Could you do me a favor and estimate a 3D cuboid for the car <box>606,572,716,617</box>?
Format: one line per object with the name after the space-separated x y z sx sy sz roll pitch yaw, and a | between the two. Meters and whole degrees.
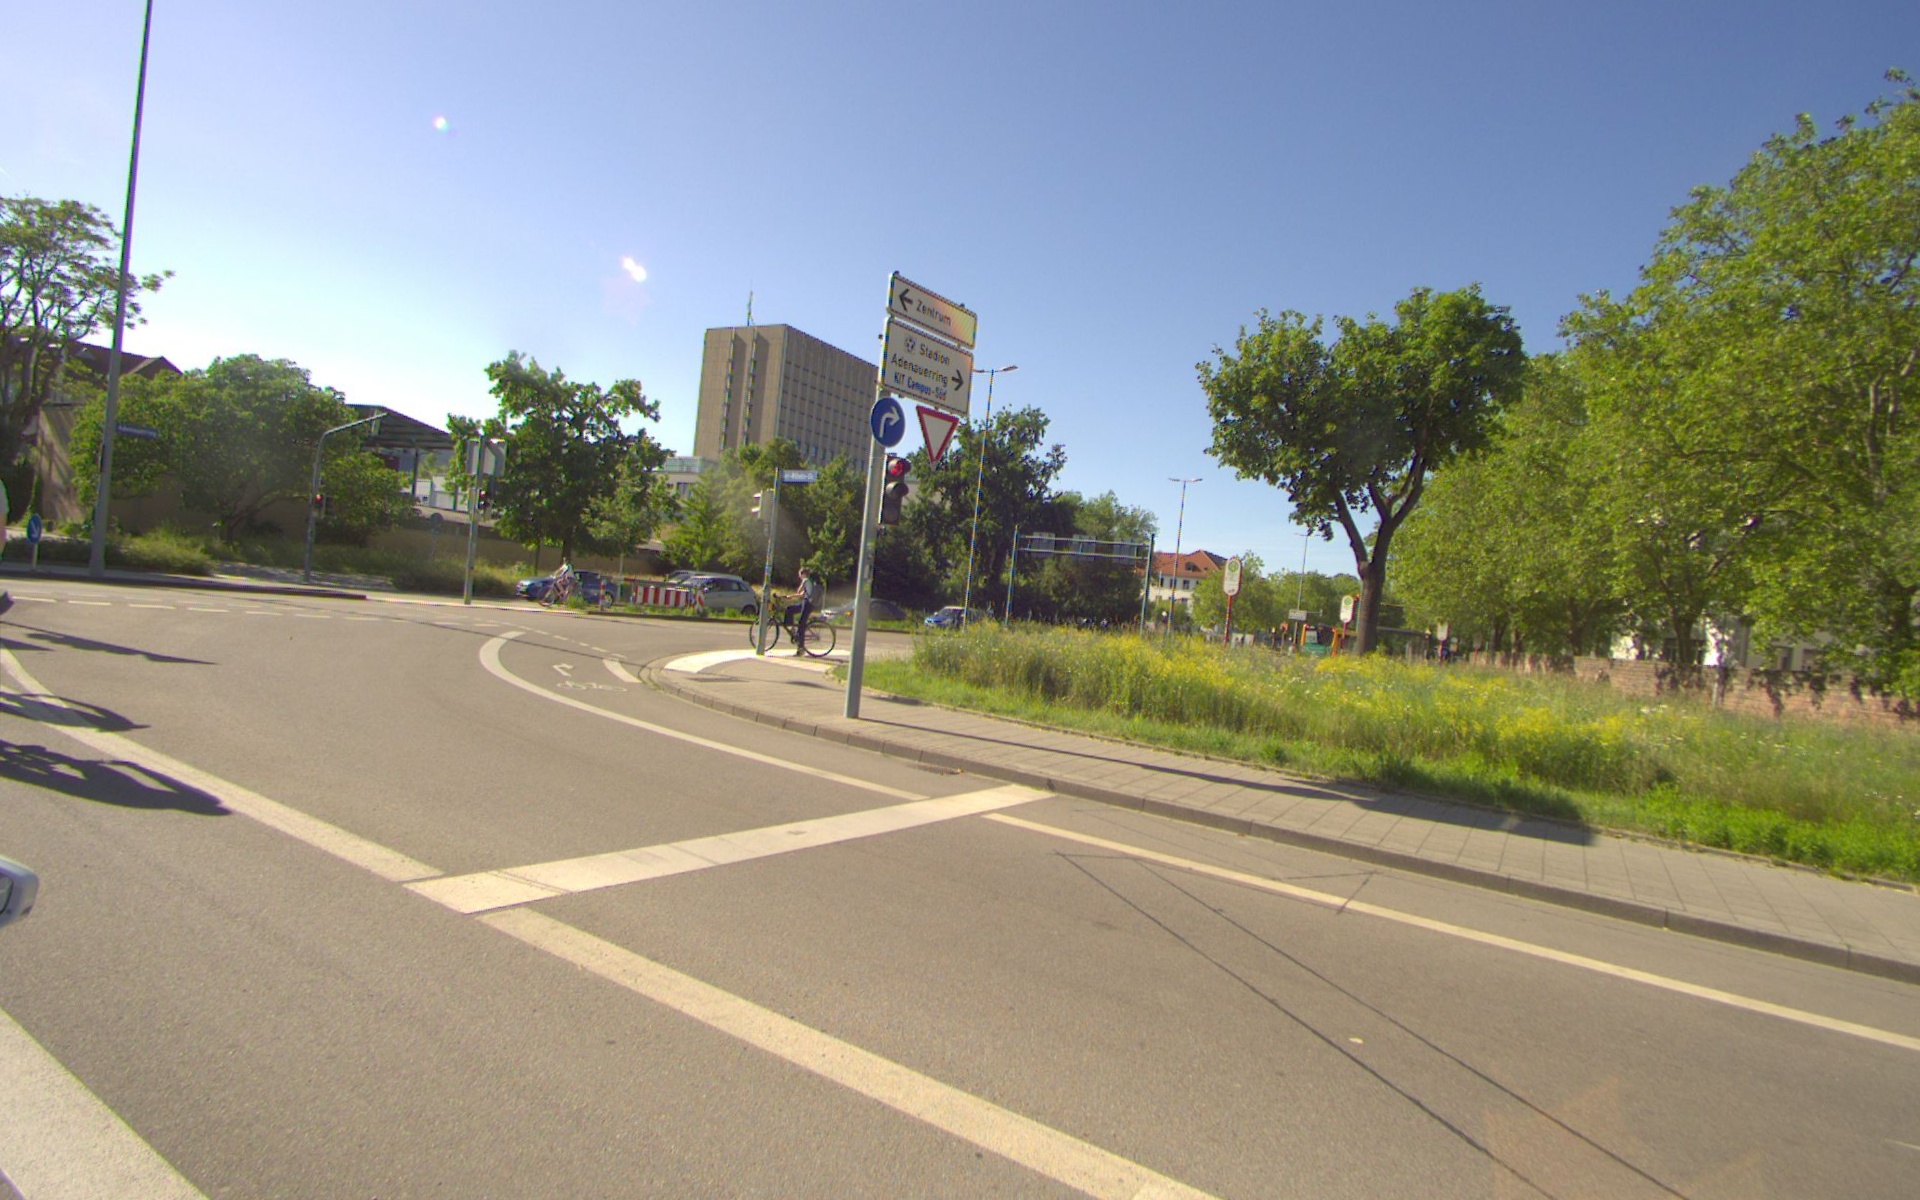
-12.296 -0.202 41.570 1.767 1.415 3.986 7 0 37 | car

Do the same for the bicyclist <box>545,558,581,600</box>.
-13.932 -0.725 35.282 0.602 1.360 0.874 7 1 37 | bicyclist

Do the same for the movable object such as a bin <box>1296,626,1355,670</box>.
28.005 3.717 76.749 2.954 2.898 9.178 6 0 27 | movable object such as a bin

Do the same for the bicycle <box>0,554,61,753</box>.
-6.337 0.229 6.132 1.890 1.102 0.690 6 -1 32 | bicycle

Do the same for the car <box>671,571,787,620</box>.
-8.737 -0.132 38.288 1.767 1.415 3.986 7 0 37 | car

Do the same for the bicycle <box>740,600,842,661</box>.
-3.289 0.589 19.677 1.856 0.970 0.635 7 1 -10 | bicycle

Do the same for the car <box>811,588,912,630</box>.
-4.306 0.434 44.629 1.767 1.415 4.557 7 0 37 | car

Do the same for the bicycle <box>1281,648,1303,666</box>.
20.039 3.436 60.670 0.514 1.000 1.965 7 1 39 | bicycle

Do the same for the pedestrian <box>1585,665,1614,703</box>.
26.446 3.480 41.585 0.712 1.460 0.523 7 -1 2 | pedestrian

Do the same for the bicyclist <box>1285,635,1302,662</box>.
20.119 2.954 60.706 0.509 1.548 1.067 7 2 39 | bicyclist

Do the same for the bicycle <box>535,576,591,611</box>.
-13.934 -0.230 35.359 0.602 1.046 1.681 7 0 37 | bicycle

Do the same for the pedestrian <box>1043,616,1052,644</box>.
7.826 2.647 89.865 0.401 2.451 0.467 6 -1 34 | pedestrian

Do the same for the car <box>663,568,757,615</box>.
-11.839 -0.369 47.795 1.767 1.771 3.986 7 0 37 | car

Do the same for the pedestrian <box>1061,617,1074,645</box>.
9.738 2.823 90.985 0.710 2.451 0.585 6 -1 34 | pedestrian

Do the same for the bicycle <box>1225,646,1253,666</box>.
14.646 2.934 52.761 0.640 0.986 1.895 7 1 39 | bicycle

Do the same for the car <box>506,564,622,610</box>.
-16.207 -0.528 41.318 1.767 1.415 3.986 7 0 37 | car

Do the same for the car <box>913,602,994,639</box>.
-0.291 1.049 50.456 1.916 1.415 3.986 6 0 37 | car

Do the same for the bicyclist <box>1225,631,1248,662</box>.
14.427 2.443 52.420 0.632 1.533 1.049 7 2 39 | bicyclist

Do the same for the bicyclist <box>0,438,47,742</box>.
-6.319 -0.120 6.137 1.123 1.813 0.684 7 0 32 | bicyclist

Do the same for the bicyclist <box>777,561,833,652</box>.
-3.035 0.122 19.704 0.898 1.667 0.630 6 1 -9 | bicyclist

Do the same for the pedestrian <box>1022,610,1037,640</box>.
5.884 2.134 85.180 0.660 2.451 0.770 6 -1 34 | pedestrian

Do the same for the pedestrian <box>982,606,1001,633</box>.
2.562 1.572 81.217 0.752 2.039 1.267 7 1 36 | pedestrian
